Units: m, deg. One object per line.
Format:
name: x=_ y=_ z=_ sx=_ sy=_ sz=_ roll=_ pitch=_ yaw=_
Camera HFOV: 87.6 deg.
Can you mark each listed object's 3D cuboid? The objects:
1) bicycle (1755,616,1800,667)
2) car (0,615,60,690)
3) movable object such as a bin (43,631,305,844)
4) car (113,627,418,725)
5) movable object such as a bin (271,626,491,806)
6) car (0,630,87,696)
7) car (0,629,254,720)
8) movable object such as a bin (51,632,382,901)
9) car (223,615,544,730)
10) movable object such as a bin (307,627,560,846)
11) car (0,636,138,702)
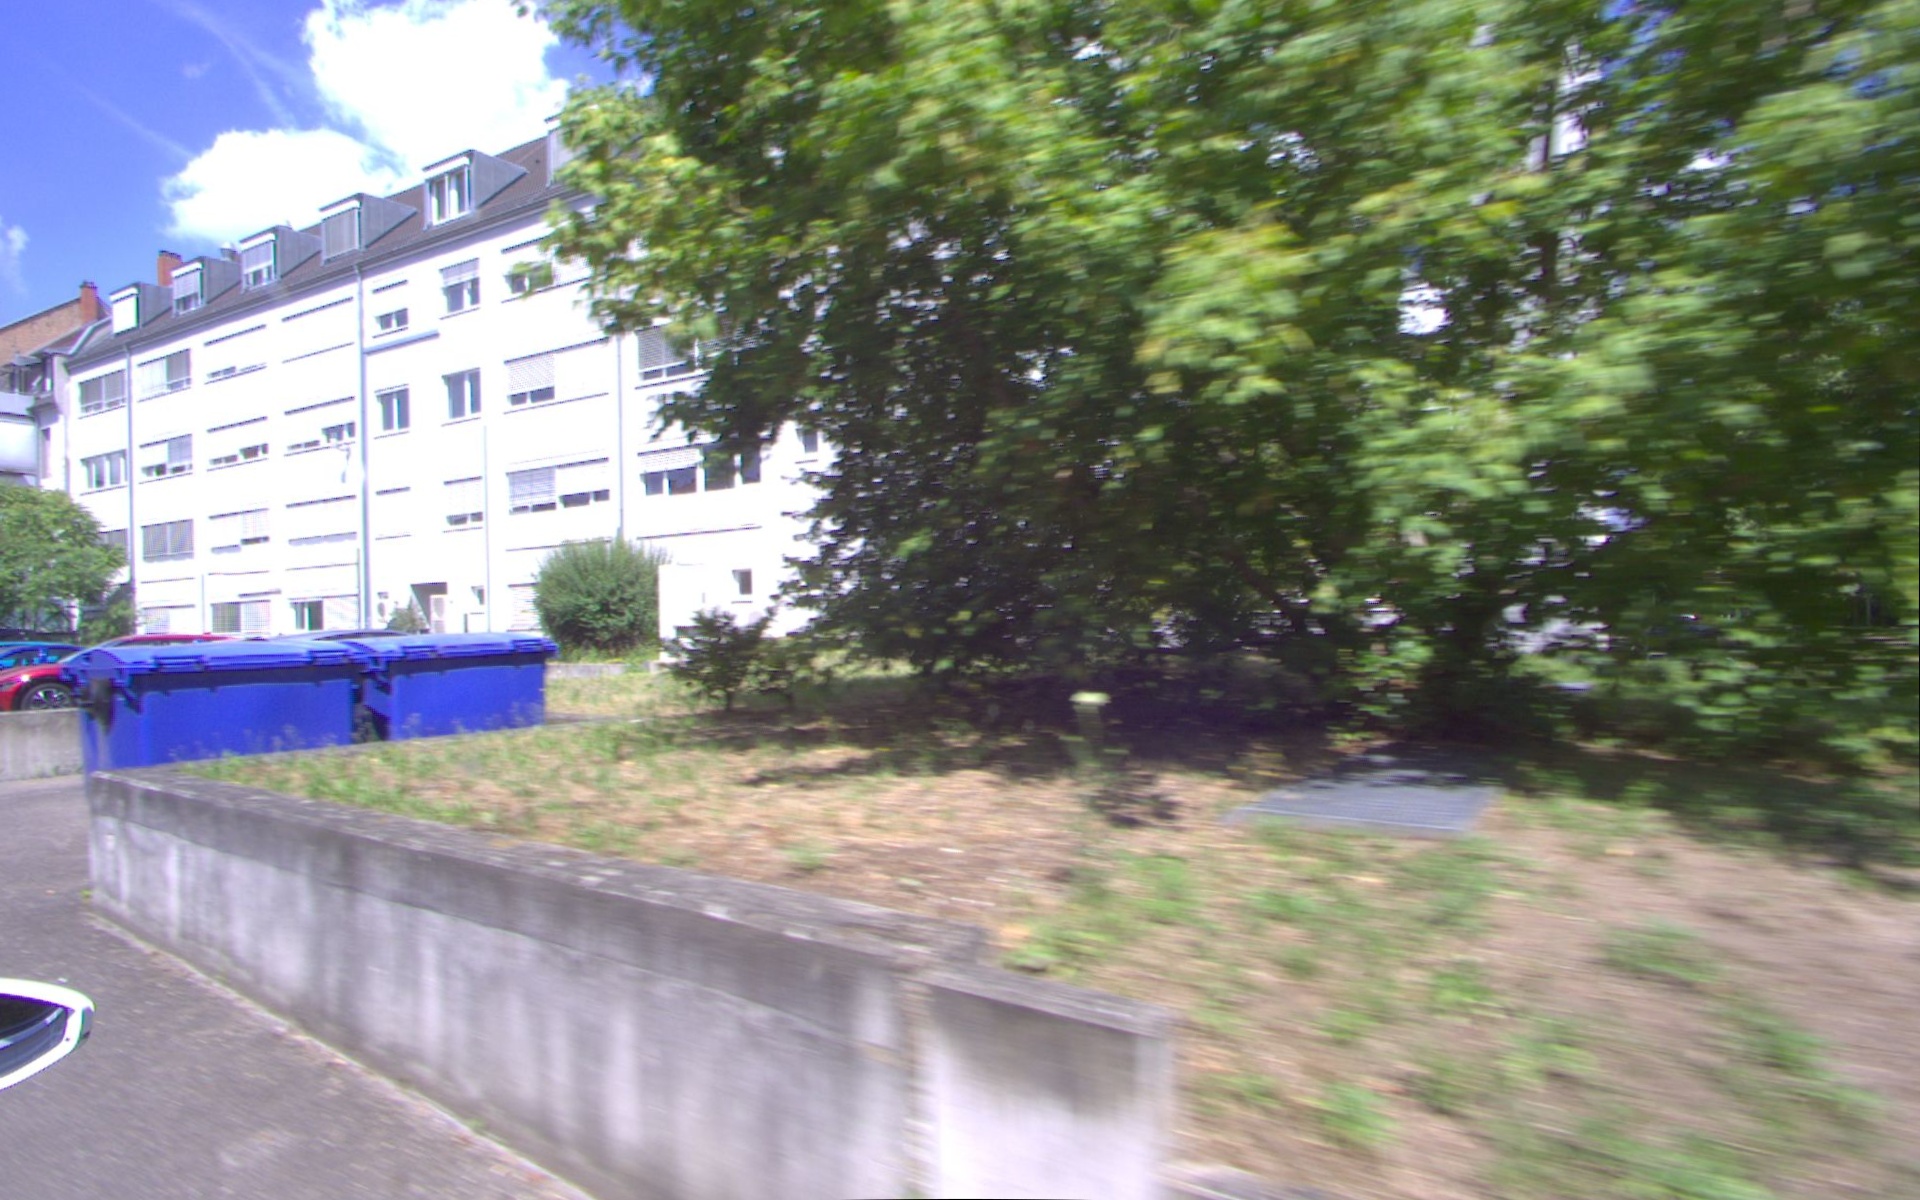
bicycle: x=18.585 y=0.917 z=22.793 sx=0.593 sy=1.098 sz=1.929 roll=-1 pitch=-1 yaw=33
car: x=-26.798 y=1.411 z=26.054 sx=2.048 sy=1.984 sz=4.666 roll=-1 pitch=-1 yaw=33
movable object such as a bin: x=-5.681 y=0.916 z=7.263 sx=1.144 sy=1.344 sz=1.189 roll=-1 pitch=0 yaw=34
car: x=-11.860 y=1.213 z=17.365 sx=1.780 sy=1.408 sz=3.977 roll=-1 pitch=-1 yaw=33
movable object such as a bin: x=-4.857 y=0.910 z=8.436 sx=1.144 sy=1.344 sz=1.213 roll=-1 pitch=0 yaw=34
car: x=-24.216 y=1.564 z=24.506 sx=1.780 sy=1.554 sz=3.977 roll=-1 pitch=-1 yaw=33
car: x=-16.269 y=1.353 z=19.308 sx=1.780 sy=1.498 sz=3.977 roll=-1 pitch=-1 yaw=33
movable object such as a bin: x=-4.435 y=0.884 z=6.011 sx=1.146 sy=1.344 sz=1.334 roll=-1 pitch=0 yaw=38
car: x=-8.824 y=1.025 z=15.650 sx=1.780 sy=1.498 sz=3.977 roll=-1 pitch=-1 yaw=33
movable object such as a bin: x=-3.710 y=0.879 z=7.082 sx=1.146 sy=1.344 sz=1.211 roll=-1 pitch=0 yaw=38
car: x=-21.681 y=1.581 z=22.998 sx=1.780 sy=1.408 sz=3.977 roll=-1 pitch=-1 yaw=33
